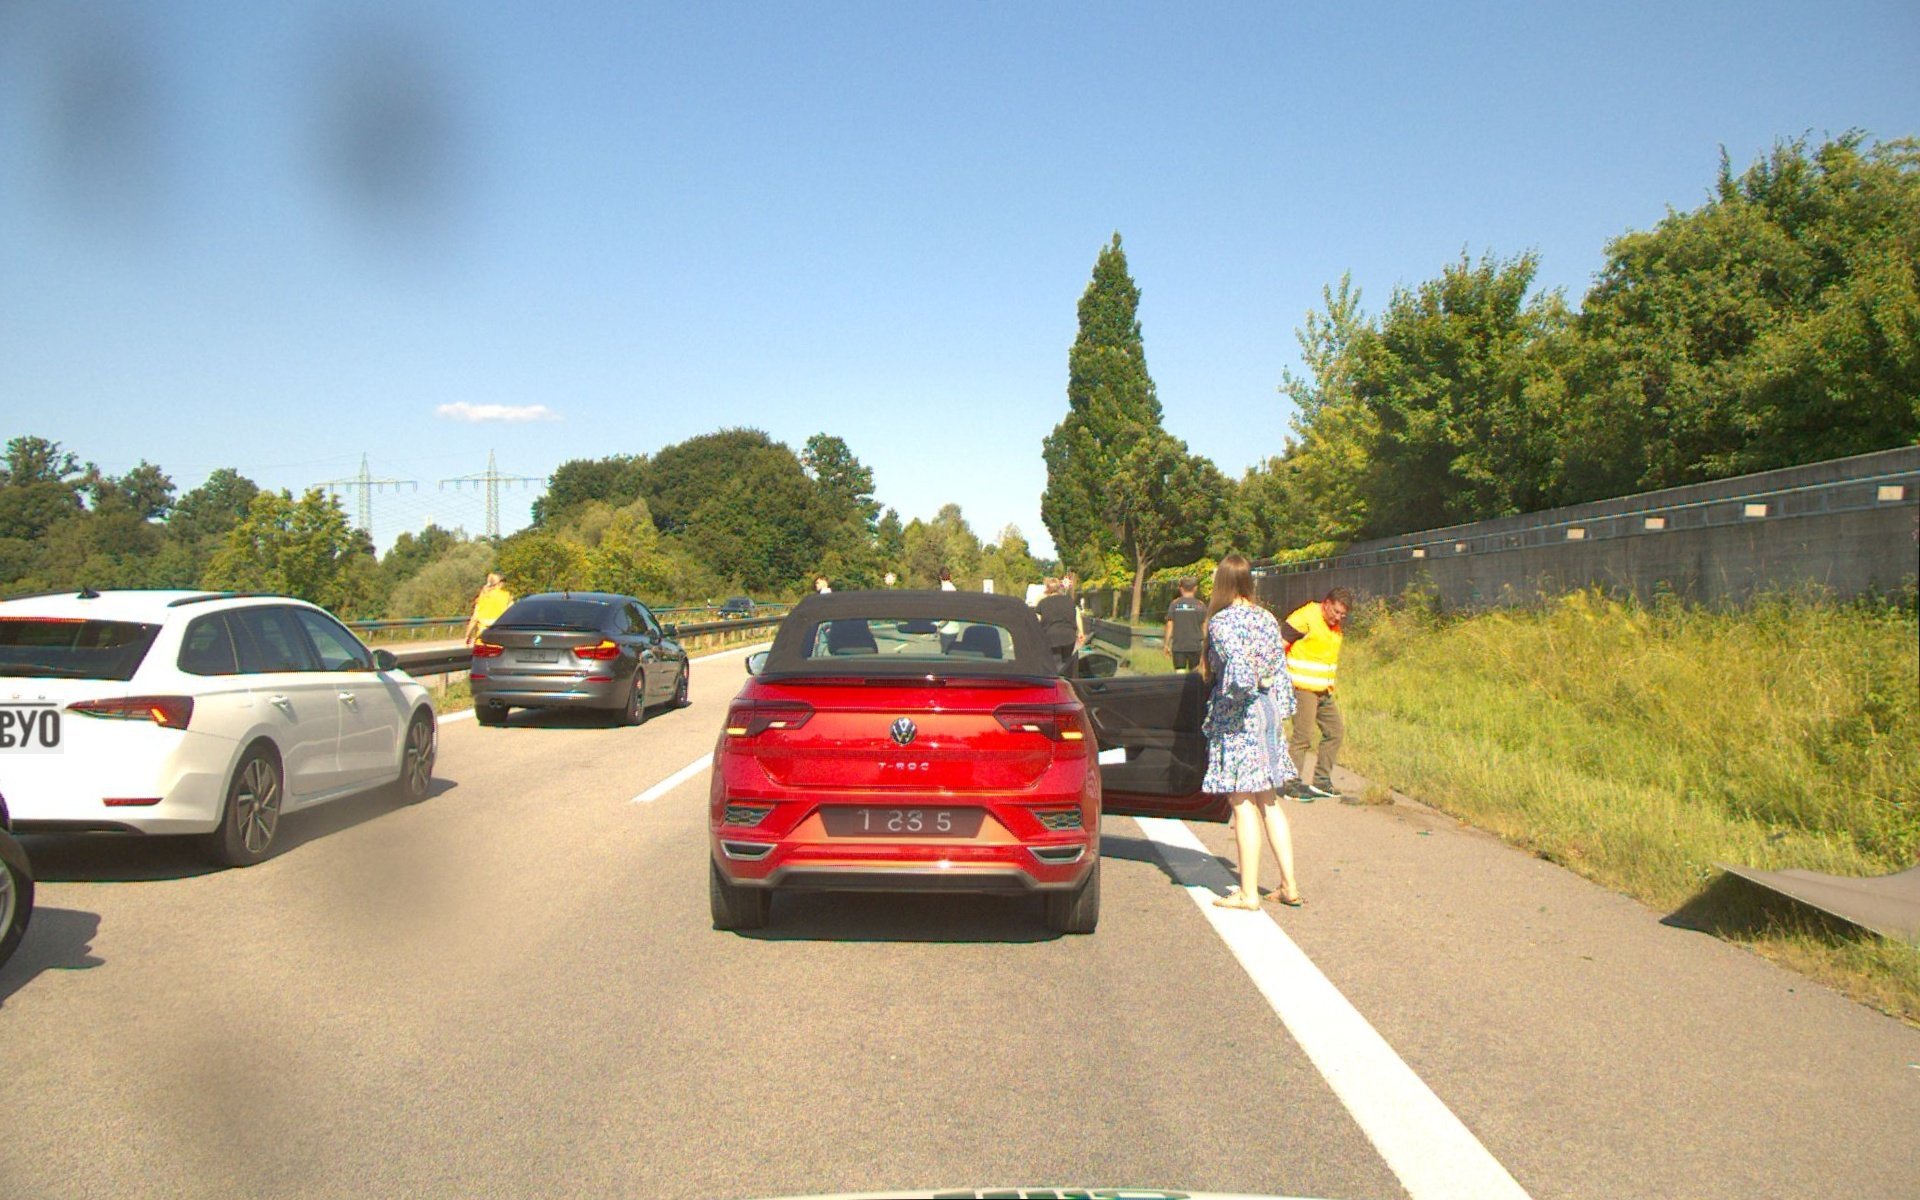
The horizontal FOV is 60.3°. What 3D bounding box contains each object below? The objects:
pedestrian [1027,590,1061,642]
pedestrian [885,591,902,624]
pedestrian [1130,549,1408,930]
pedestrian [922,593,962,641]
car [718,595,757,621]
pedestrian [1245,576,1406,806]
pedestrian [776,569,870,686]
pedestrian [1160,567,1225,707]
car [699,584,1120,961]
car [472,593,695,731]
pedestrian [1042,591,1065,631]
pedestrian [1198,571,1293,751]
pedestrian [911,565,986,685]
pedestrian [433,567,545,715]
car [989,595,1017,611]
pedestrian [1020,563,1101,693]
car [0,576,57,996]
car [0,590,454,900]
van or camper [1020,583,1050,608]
[{"bbox_3d":[2.841,0.523,55.756,1.033,1.719,1.018,1,0,7],"label":"pedestrian"},{"bbox_3d":[-3.476,0.403,86.885,0.775,1.719,0.793,1,-1,5],"label":"pedestrian"},{"bbox_3d":[1.499,0.627,8.182,0.878,1.725,1.121,-1,0,-23],"label":"pedestrian"},{"bbox_3d":[-0.653,0.612,59.386,1.101,1.719,0.964,1,-1,-28],"label":"pedestrian"},{"bbox_3d":[-12.899,0.465,96.108,1.677,1.450,4.406,1,0,0],"label":"car"},{"bbox_3d":[2.806,0.665,12.824,0.938,1.682,1.278,-1,0,-1],"label":"pedestrian"},{"bbox_3d":[-2.176,0.427,26.353,1.082,1.820,1.090,1,-1,25],"label":"pedestrian"},{"bbox_3d":[3.053,0.477,21.809,0.794,1.790,0.828,1,-1,6],"label":"pedestrian"},{"bbox_3d":[-0.203,0.695,8.851,1.697,1.513,4.210,1,0,0],"label":"car"},{"bbox_3d":[-4.367,0.652,19.829,1.660,1.451,4.334,1,0,0],"label":"car"},{"bbox_3d":[4.098,0.477,72.798,0.975,1.719,1.011,1,0,3],"label":"pedestrian"},{"bbox_3d":[2.886,0.596,16.689,0.875,1.755,0.755,1,-1,14],"label":"pedestrian"},{"bbox_3d":[-0.206,0.405,27.578,1.085,1.946,1.255,-1,0,-8],"label":"pedestrian"},{"bbox_3d":[-5.889,0.496,20.754,1.019,1.794,1.119,-1,0,3],"label":"pedestrian"},{"bbox_3d":[4.253,0.328,162.218,1.696,1.513,4.213,1,0,16],"label":"car"},{"bbox_3d":[1.509,0.412,24.978,1.068,1.916,1.068,0,0,-5],"label":"pedestrian"},{"bbox_3d":[-3.990,0.684,4.202,1.757,1.519,4.479,0,0,-12],"label":"car"},{"bbox_3d":[-4.560,0.687,10.034,1.660,1.467,4.210,1,0,0],"label":"car"},{"bbox_3d":[7.308,-0.455,161.174,1.951,2.356,4.473,1,0,16],"label":"van or camper"}]
